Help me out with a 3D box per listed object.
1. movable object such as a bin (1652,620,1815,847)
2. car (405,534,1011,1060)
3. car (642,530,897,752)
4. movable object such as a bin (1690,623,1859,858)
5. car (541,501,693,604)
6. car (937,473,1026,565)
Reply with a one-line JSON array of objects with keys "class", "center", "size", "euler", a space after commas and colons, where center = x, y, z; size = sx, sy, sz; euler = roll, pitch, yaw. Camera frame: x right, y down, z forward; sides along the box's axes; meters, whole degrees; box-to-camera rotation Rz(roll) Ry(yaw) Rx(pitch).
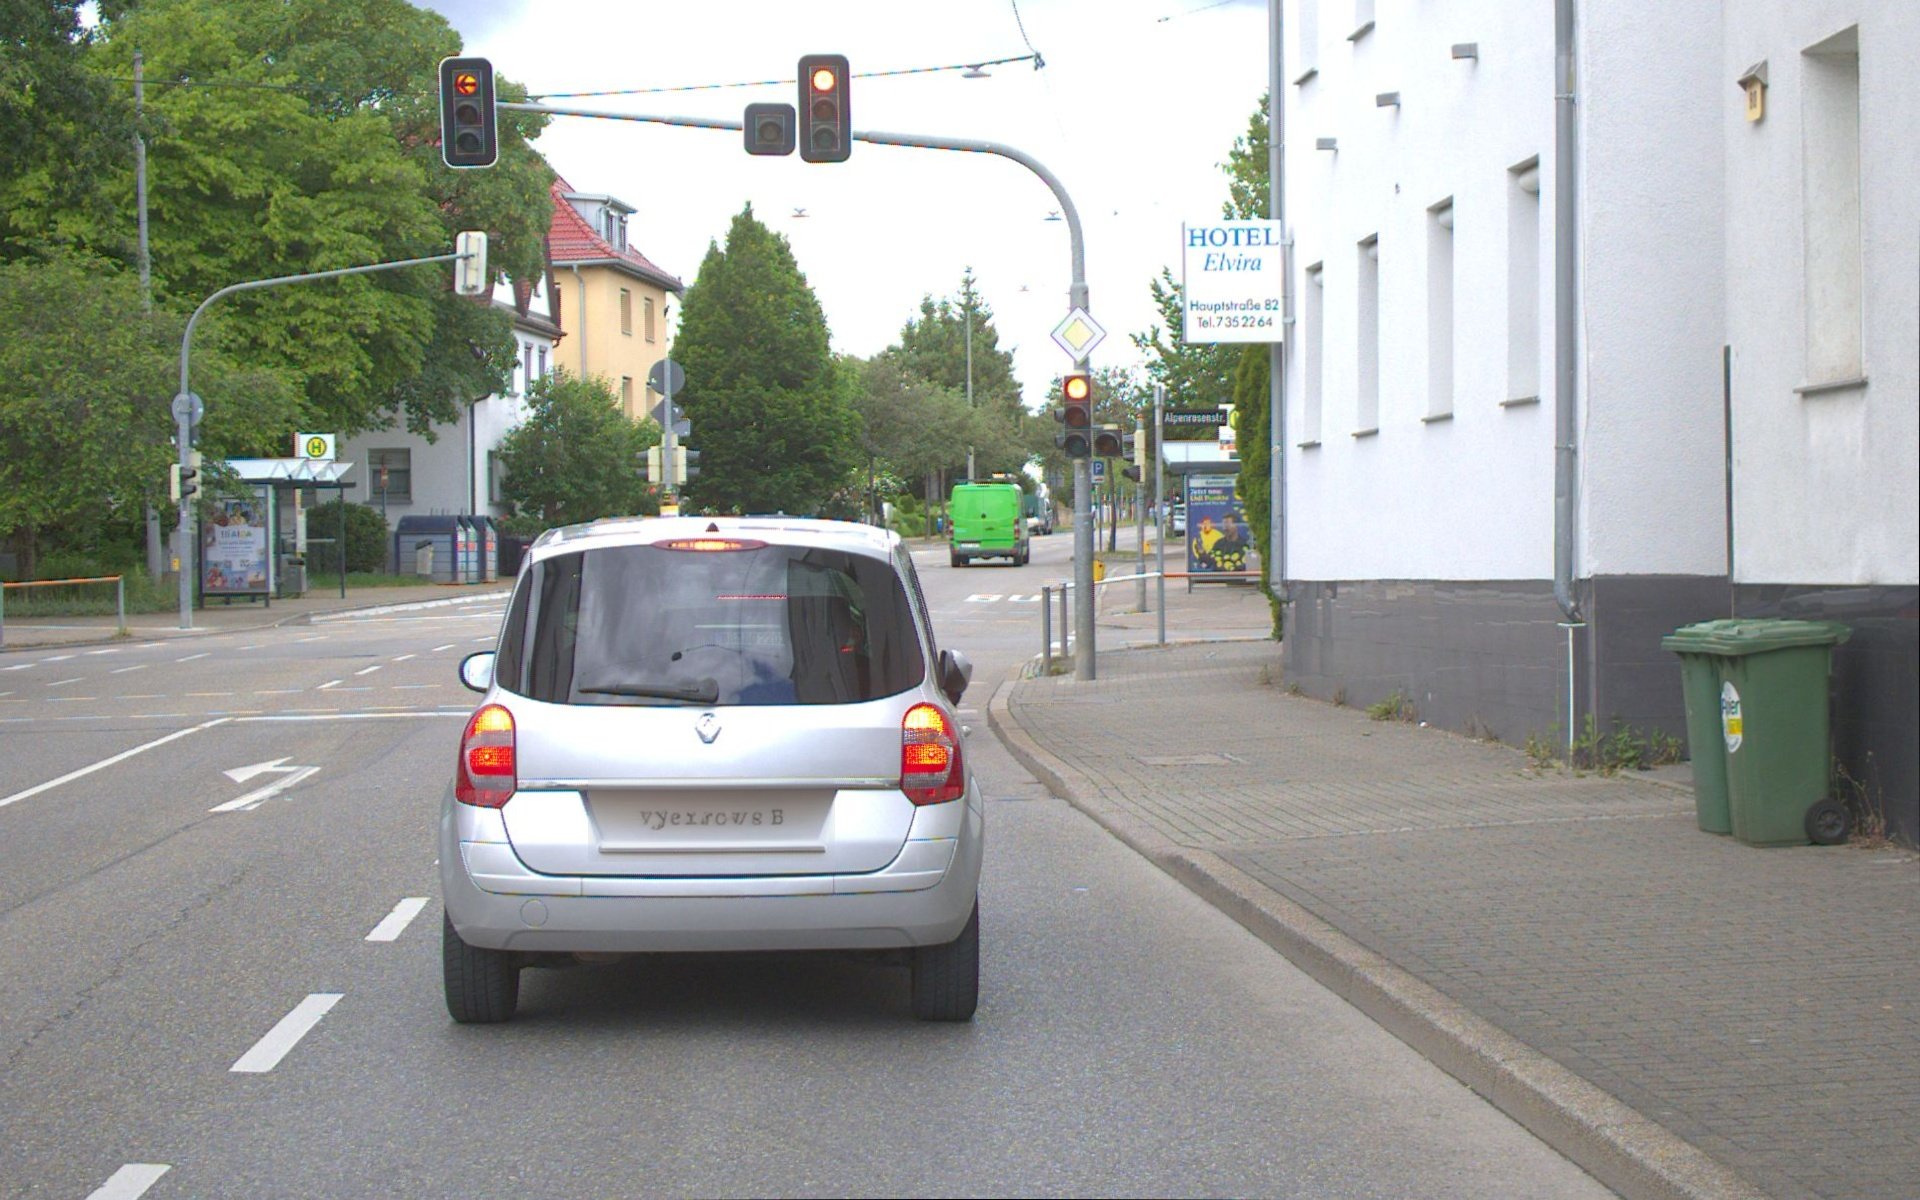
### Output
[{"class": "movable object such as a bin", "center": [3.375, 0.576, 15.026], "size": [0.540, 0.938, 0.487], "euler": [-3, 1, -3]}, {"class": "car", "center": [-0.848, 0.543, 12.005], "size": [1.755, 1.525, 4.001], "euler": [0, 1, -3]}, {"class": "car", "center": [-1.423, 0.257, 25.608], "size": [1.755, 1.525, 3.798], "euler": [0, 1, -3]}, {"class": "movable object such as a bin", "center": [3.428, 0.584, 14.492], "size": [0.540, 0.938, 0.487], "euler": [-3, 1, -3]}, {"class": "car", "center": [-6.549, -0.930, 65.992], "size": [1.927, 1.767, 3.999], "euler": [-4, 1, 7]}, {"class": "car", "center": [0.636, -2.250, 96.271], "size": [2.059, 2.503, 5.594], "euler": [0, 1, 5]}]
